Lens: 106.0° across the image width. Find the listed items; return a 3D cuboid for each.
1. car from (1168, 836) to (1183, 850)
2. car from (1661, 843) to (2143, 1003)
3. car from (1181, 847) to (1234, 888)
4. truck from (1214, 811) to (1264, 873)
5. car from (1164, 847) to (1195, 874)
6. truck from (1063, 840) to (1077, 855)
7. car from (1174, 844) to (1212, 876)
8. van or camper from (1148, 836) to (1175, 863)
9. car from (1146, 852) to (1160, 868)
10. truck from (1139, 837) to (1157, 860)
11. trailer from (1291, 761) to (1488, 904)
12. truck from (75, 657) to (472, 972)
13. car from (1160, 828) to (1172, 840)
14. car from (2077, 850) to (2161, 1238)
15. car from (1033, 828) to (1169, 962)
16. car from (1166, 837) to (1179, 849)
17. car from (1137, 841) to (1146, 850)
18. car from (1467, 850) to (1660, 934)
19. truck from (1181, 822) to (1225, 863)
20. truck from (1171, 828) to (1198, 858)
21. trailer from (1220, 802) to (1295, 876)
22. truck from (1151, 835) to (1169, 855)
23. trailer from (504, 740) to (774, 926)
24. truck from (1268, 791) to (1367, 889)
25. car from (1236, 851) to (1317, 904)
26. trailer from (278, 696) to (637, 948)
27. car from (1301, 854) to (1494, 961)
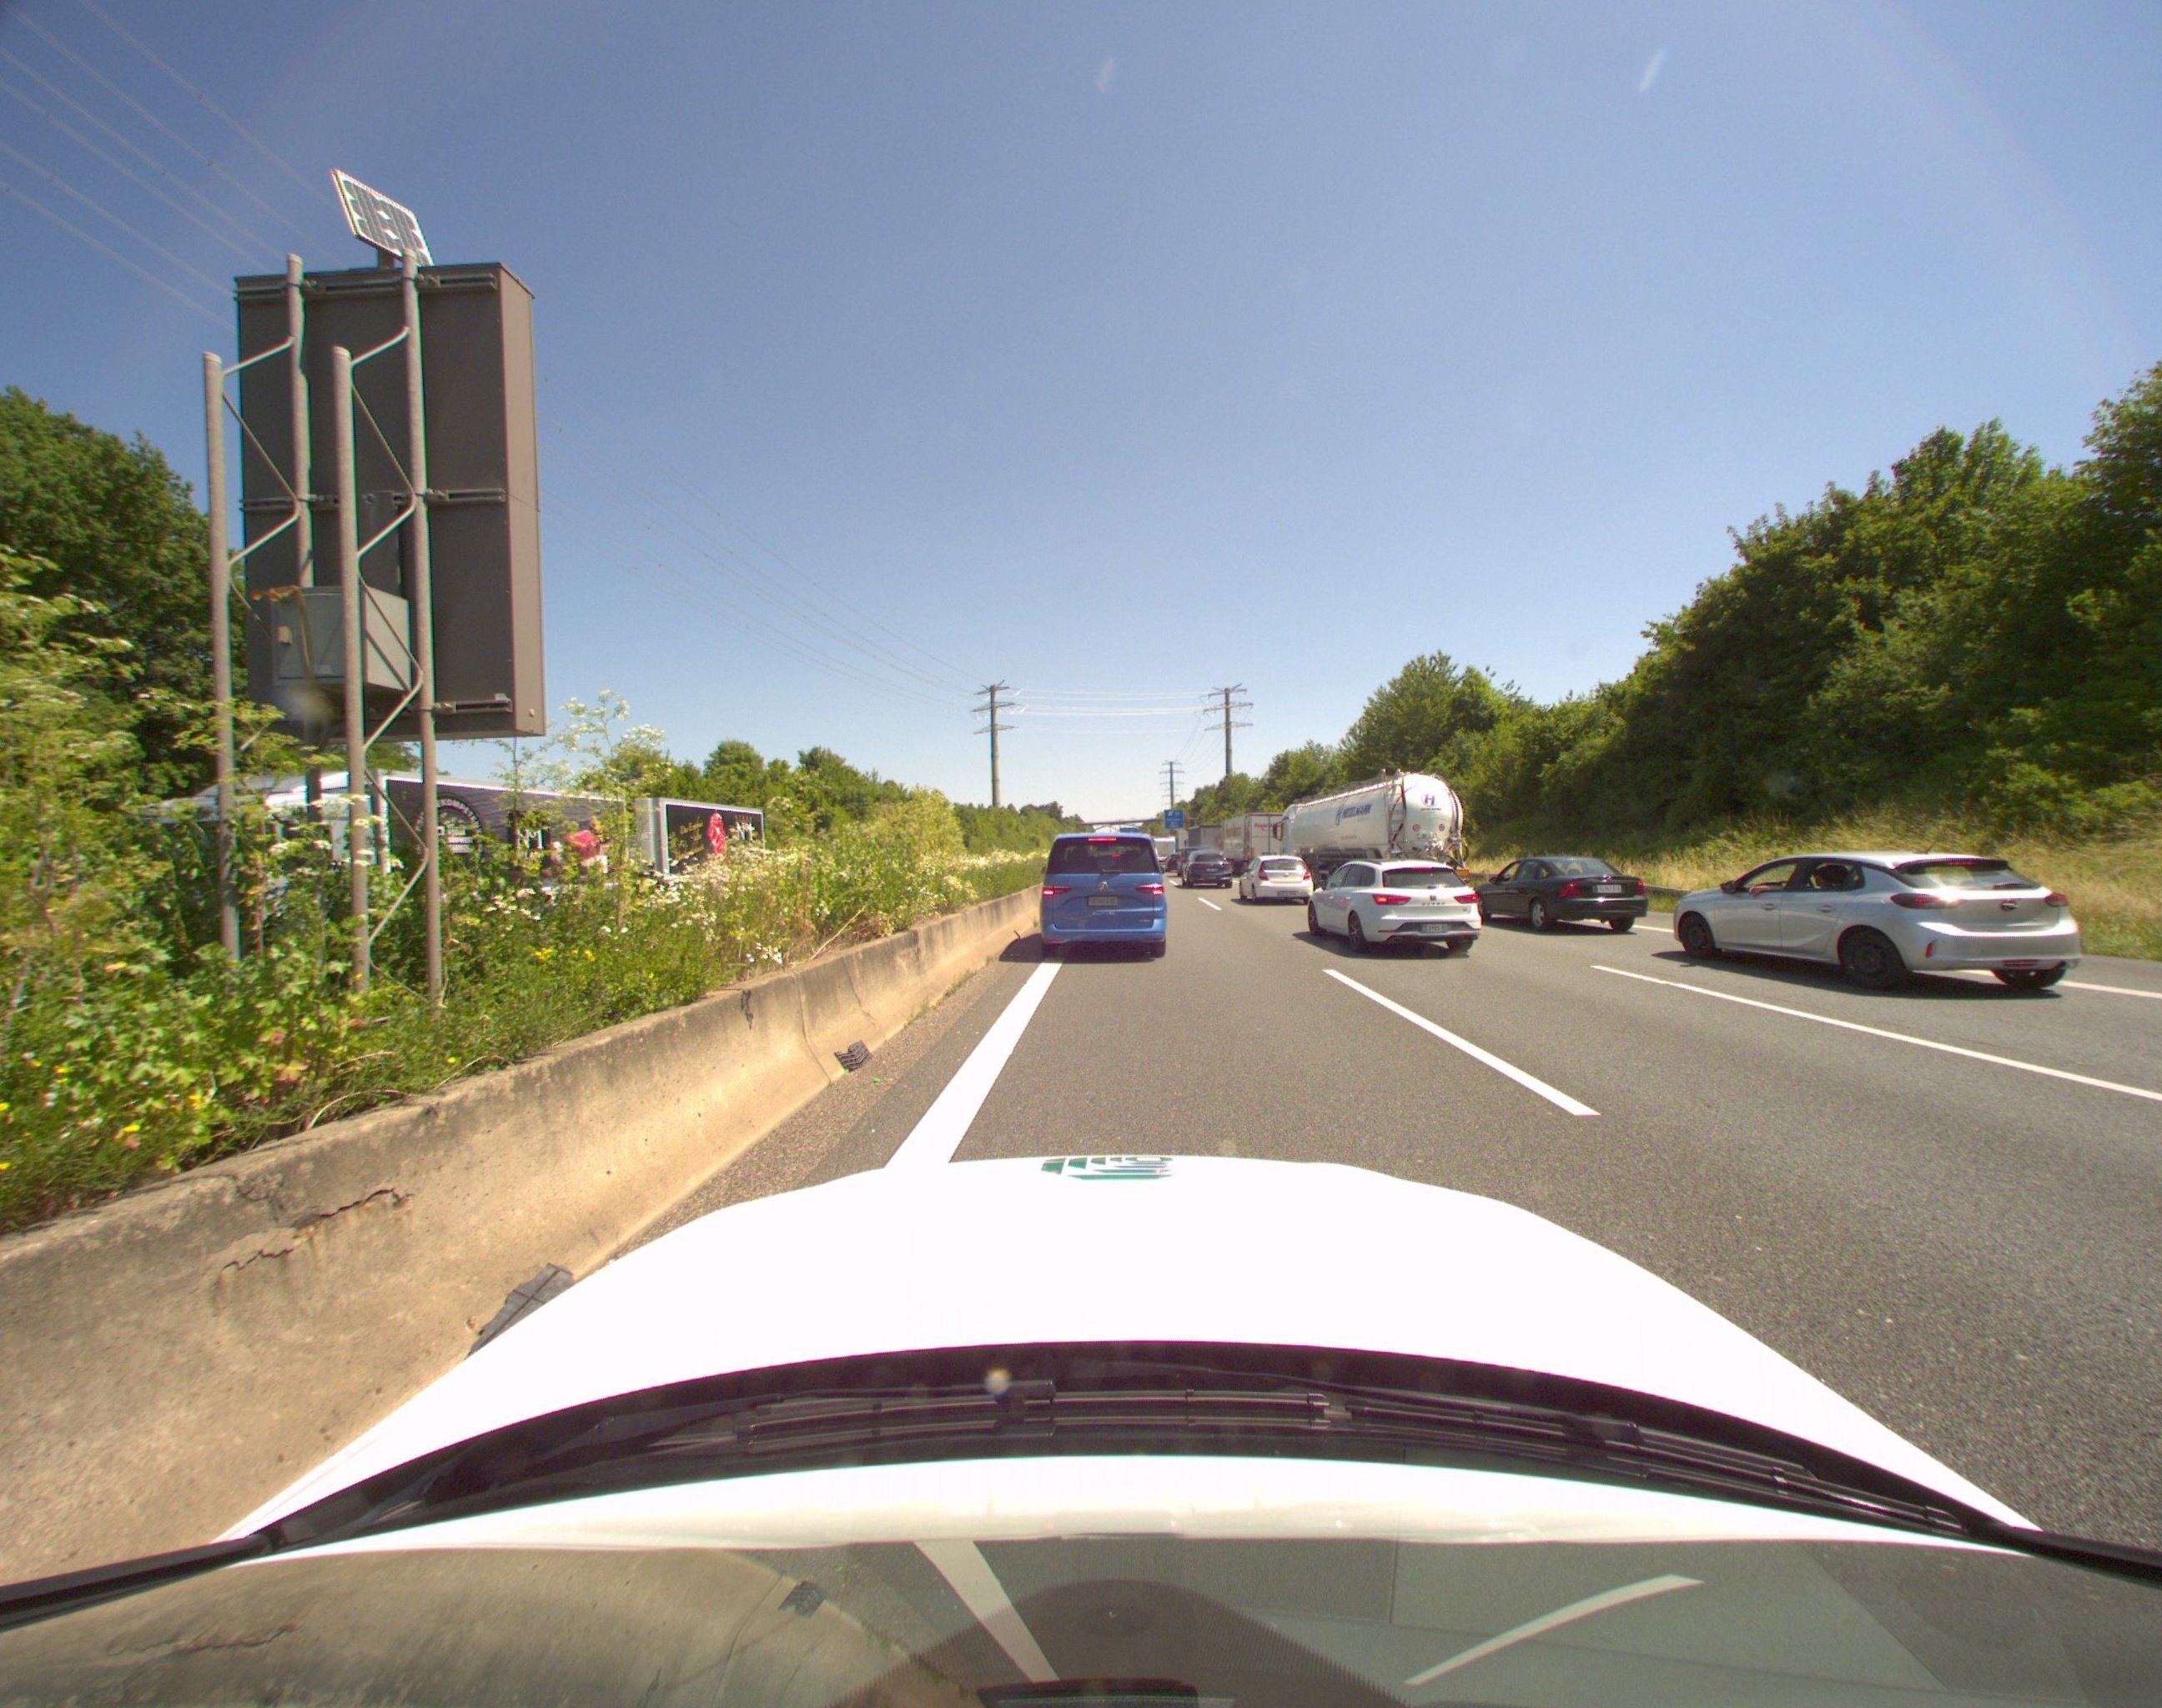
[{"bbox_3d":[15.307,-1.787,132.053,1.985,2.014,4.003,-1,-1,3],"label":"car"},{"bbox_3d":[9.104,0.636,9.631,1.724,1.443,4.031,-2,0,2],"label":"car"},{"bbox_3d":[5.799,0.630,37.808,1.991,1.715,4.629,-2,-1,3],"label":"car"},{"bbox_3d":[12.168,-0.874,63.218,2.901,4.469,5.145,-2,-1,2],"label":"truck"},{"bbox_3d":[7.796,0.536,64.883,1.917,1.925,4.236,-3,-1,1],"label":"car"},{"bbox_3d":[-2.956,-1.604,214.583,2.900,3.819,11.952,0,0,3],"label":"truck"},{"bbox_3d":[7.327,0.420,53.621,1.917,1.925,4.236,-3,-1,1],"label":"car"},{"bbox_3d":[9.508,-0.436,97.040,2.944,3.022,7.110,-1,-1,4],"label":"van or camper"},{"bbox_3d":[10.014,0.855,114.053,1.828,1.998,4.004,-3,-1,4],"label":"car"},{"bbox_3d":[11.882,-0.919,144.451,2.883,3.766,10.149,-1,-1,4],"label":"truck"},{"bbox_3d":[9.920,-0.558,28.048,2.750,3.845,11.492,-2,0,2],"label":"trailer"},{"bbox_3d":[-14.678,-0.637,15.280,3.290,5.051,4.035,-1,0,2],"label":"truck"},{"bbox_3d":[15.973,-3.710,152.558,1.985,2.014,4.003,-1,-1,3],"label":"car"},{"bbox_3d":[4.728,0.625,0.874,1.769,1.416,4.575,-3,-1,2],"label":"car"},{"bbox_3d":[0.379,0.579,13.479,1.912,1.886,4.003,0,0,3],"label":"car"},{"bbox_3d":[15.944,-1.917,142.360,1.985,2.014,4.003,-1,-1,3],"label":"car"},{"bbox_3d":[15.342,-2.251,206.874,1.986,2.126,4.002,-1,-1,2],"label":"car"},{"bbox_3d":[9.424,0.702,16.312,1.634,1.416,3.992,-3,-1,3],"label":"car"},{"bbox_3d":[12.292,-0.999,83.561,2.993,3.766,15.727,-1,-1,4],"label":"truck"},{"bbox_3d":[14.333,-1.415,113.777,2.883,3.766,13.357,-1,-1,4],"label":"truck"},{"bbox_3d":[11.893,-0.890,56.247,2.901,4.469,12.160,-2,0,2],"label":"trailer"},{"bbox_3d":[19.118,-2.107,197.059,3.552,4.517,10.298,-1,-1,2],"label":"truck"},{"bbox_3d":[-14.068,-0.536,27.329,3.308,5.047,9.598,-1,-1,3],"label":"trailer"},{"bbox_3d":[10.152,-0.533,35.500,2.782,3.836,5.575,-2,0,2],"label":"truck"},{"bbox_3d":[6.086,0.716,25.755,1.809,1.485,4.004,-2,-1,4],"label":"car"},{"bbox_3d":[-14.498,-0.612,19.875,3.309,5.047,6.708,-1,-1,3],"label":"trailer"},{"bbox_3d":[5.037,0.790,13.642,1.740,1.443,4.317,-2,-1,3],"label":"car"}]
